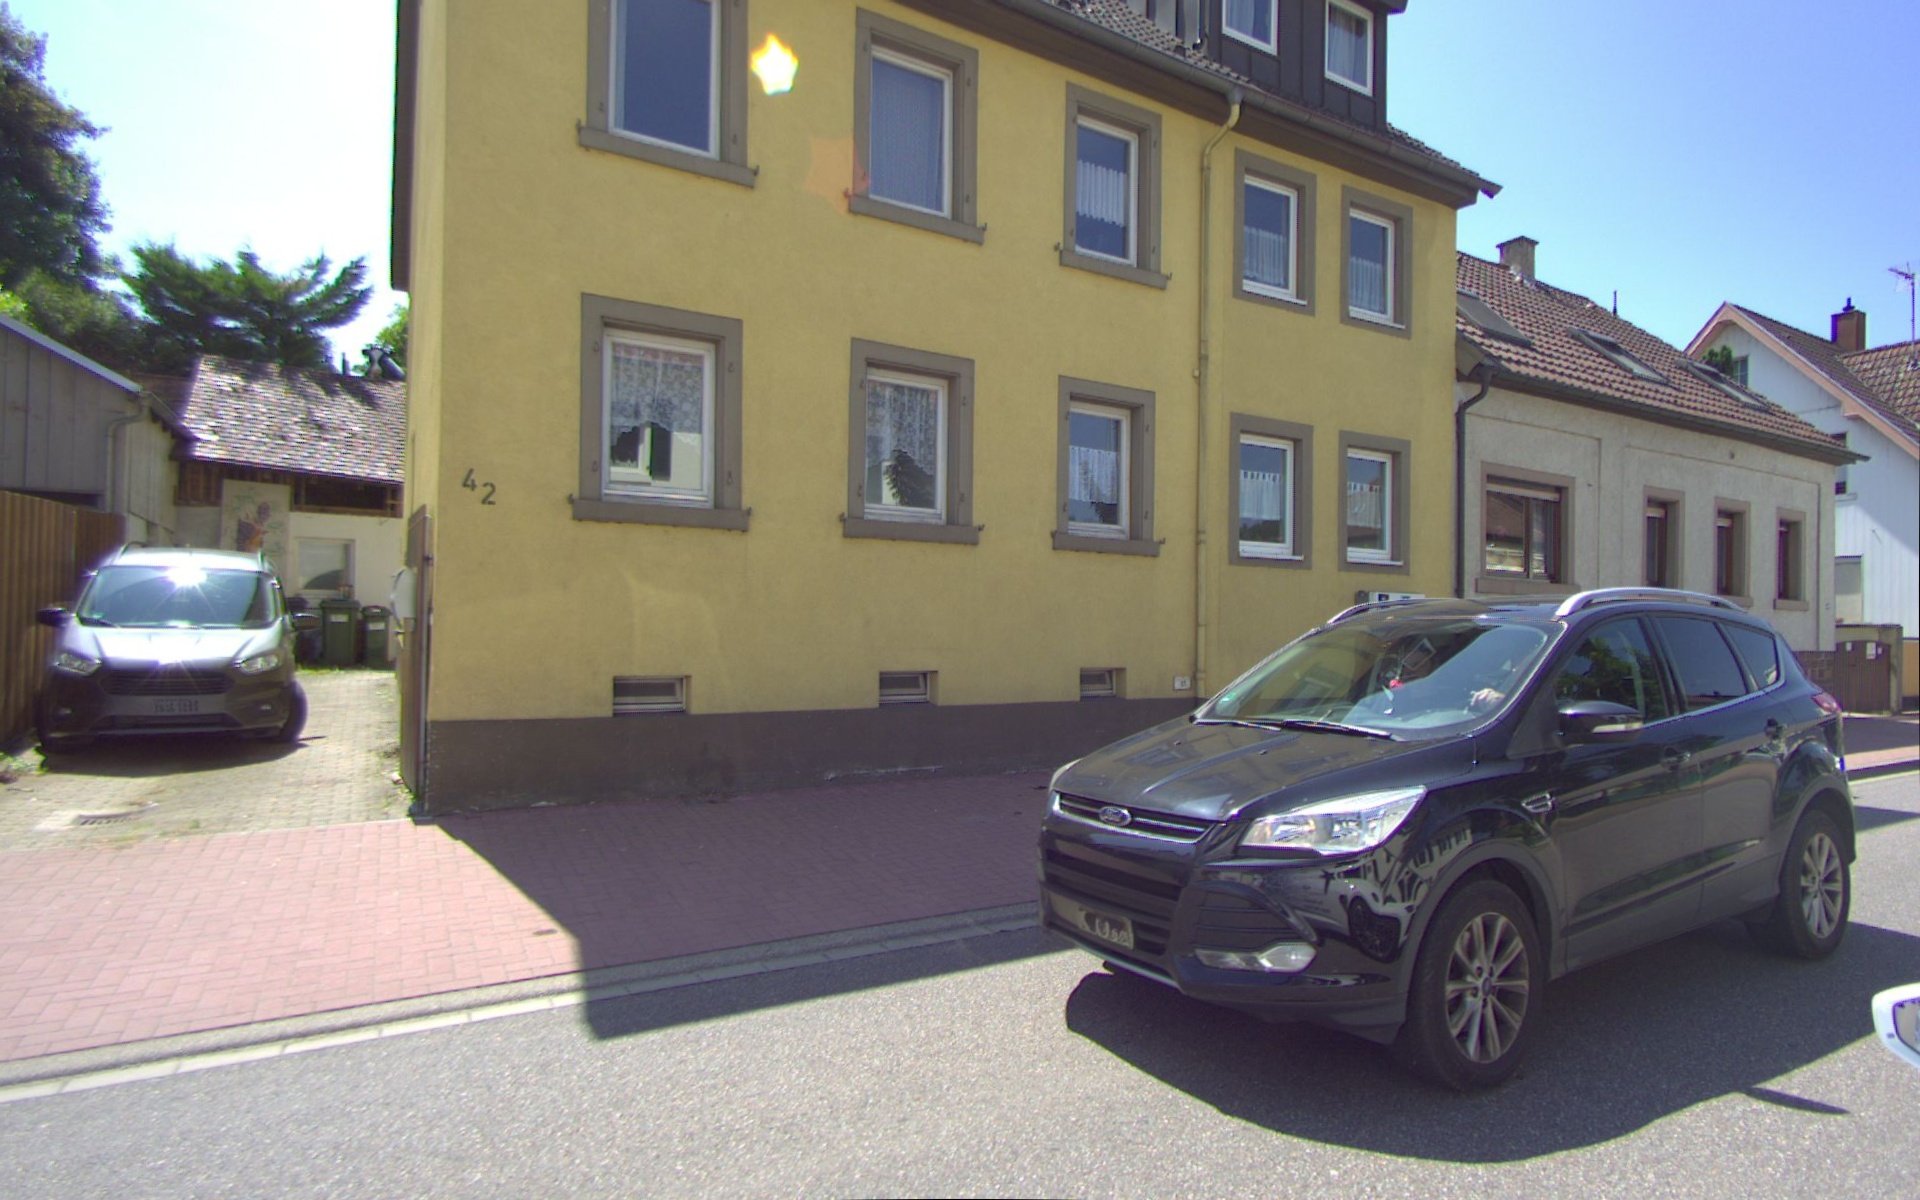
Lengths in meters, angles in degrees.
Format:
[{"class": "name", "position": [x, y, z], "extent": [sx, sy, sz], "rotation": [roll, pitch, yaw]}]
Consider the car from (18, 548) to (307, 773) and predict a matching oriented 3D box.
[{"class": "car", "position": [-7.425, 0.398, 9.738], "extent": [1.799, 1.698, 3.962], "rotation": [2, 2, -33]}]

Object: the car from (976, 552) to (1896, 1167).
[{"class": "car", "position": [2.357, 0.793, 4.684], "extent": [4.274, 1.691, 1.830], "rotation": [2, -3, -31]}]
